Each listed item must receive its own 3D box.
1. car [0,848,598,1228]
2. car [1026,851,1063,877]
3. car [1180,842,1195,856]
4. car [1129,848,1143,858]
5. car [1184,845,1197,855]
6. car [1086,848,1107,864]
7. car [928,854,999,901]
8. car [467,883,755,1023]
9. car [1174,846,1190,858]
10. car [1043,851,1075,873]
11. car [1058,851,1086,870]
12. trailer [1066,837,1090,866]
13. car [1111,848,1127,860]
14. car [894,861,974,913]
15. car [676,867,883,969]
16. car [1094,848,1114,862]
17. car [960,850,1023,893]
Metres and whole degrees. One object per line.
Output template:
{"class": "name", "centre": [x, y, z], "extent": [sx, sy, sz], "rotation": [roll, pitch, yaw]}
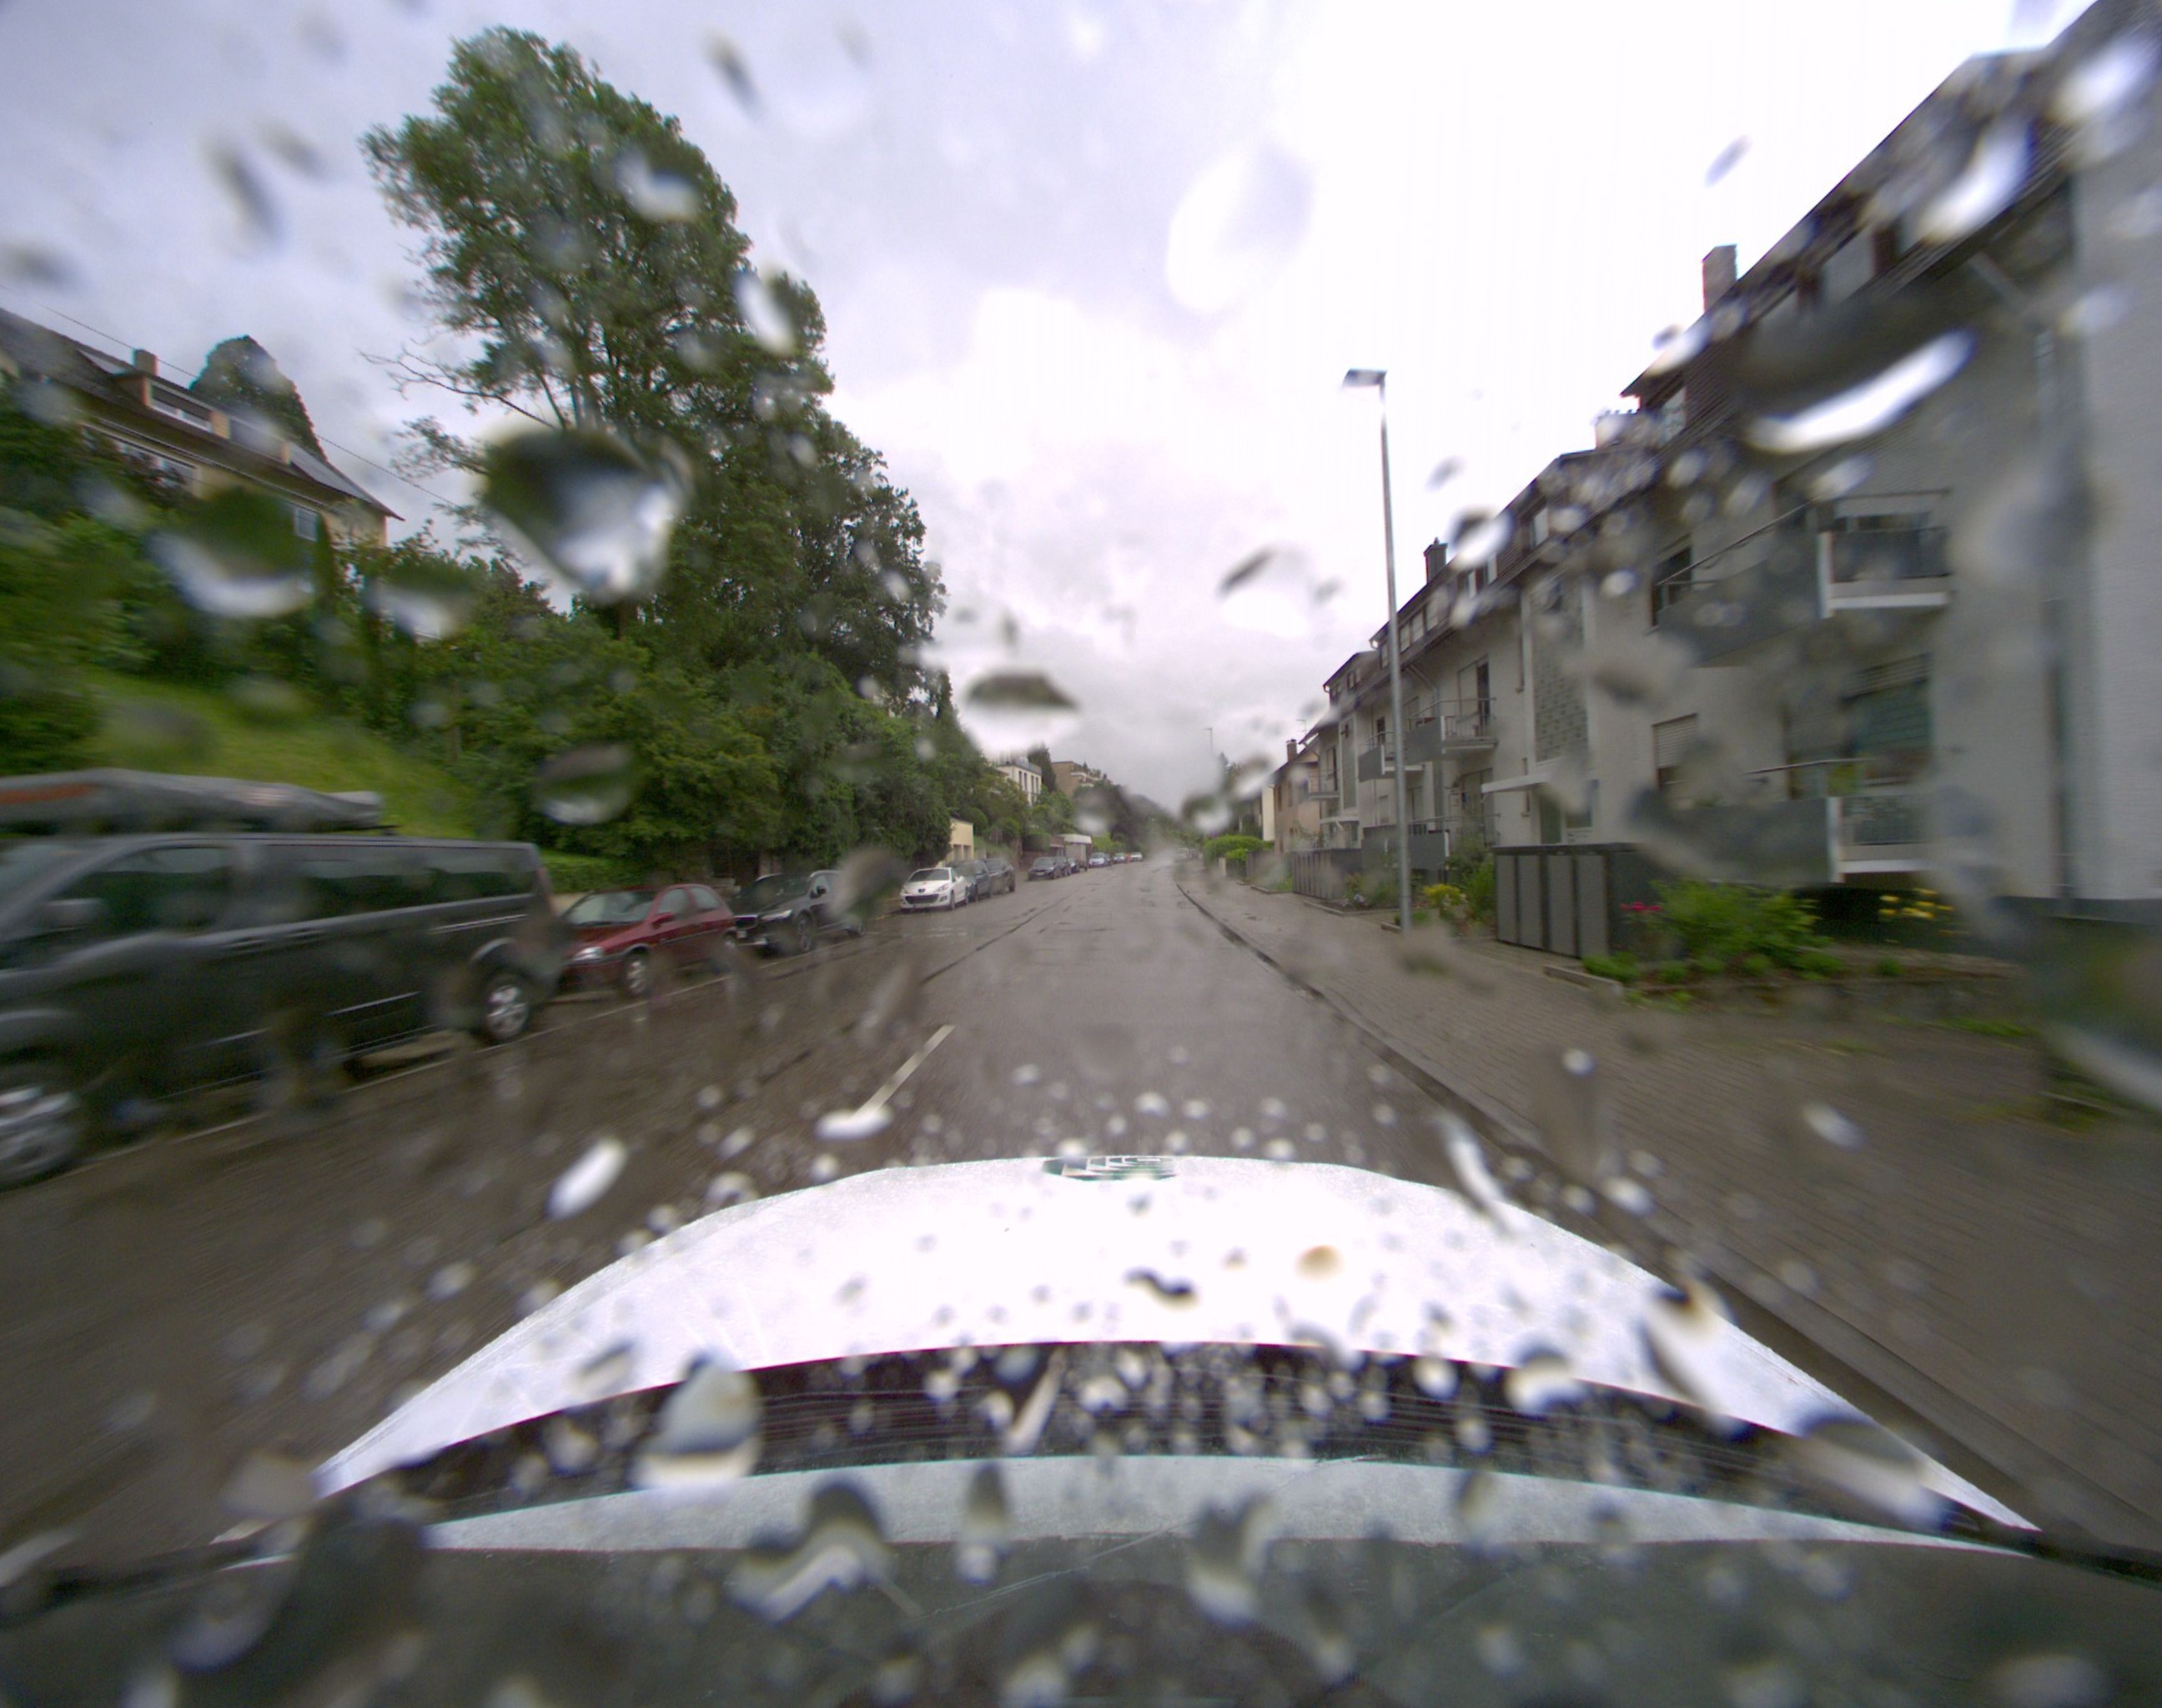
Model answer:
{"class": "car", "centre": [-6.457, 0.979, 6.103], "extent": [2.149, 1.919, 5.329], "rotation": [-3, 0, 4]}
{"class": "car", "centre": [-2.435, 0.641, 55.447], "extent": [1.777, 1.454, 4.762], "rotation": [-5, 1, 5]}
{"class": "car", "centre": [14.994, -0.712, 114.911], "extent": [1.773, 1.790, 4.375], "rotation": [-2, 0, 11]}
{"class": "car", "centre": [8.809, -0.172, 129.430], "extent": [1.746, 1.497, 4.230], "rotation": [-3, 0, 9]}
{"class": "car", "centre": [16.344, -0.566, 121.545], "extent": [1.698, 1.403, 4.217], "rotation": [-2, 0, 11]}
{"class": "car", "centre": [1.704, 0.197, 87.930], "extent": [1.746, 1.539, 3.765], "rotation": [-5, 1, 7]}
{"class": "car", "centre": [-4.592, 0.891, 32.533], "extent": [1.733, 1.561, 4.116], "rotation": [-4, 0, 6]}
{"class": "car", "centre": [-6.230, 1.218, 11.389], "extent": [1.558, 1.364, 3.910], "rotation": [-4, 0, 2]}
{"class": "car", "centre": [13.589, -0.309, 109.655], "extent": [1.778, 1.459, 4.322], "rotation": [-2, 0, 11]}
{"class": "car", "centre": [-1.627, 0.601, 61.358], "extent": [1.776, 1.415, 4.225], "rotation": [-4, 1, 6]}
{"class": "car", "centre": [-0.736, 0.506, 68.181], "extent": [1.799, 1.349, 3.783], "rotation": [-4, 1, 6]}
{"class": "trailer", "centre": [-0.261, -0.256, 73.549], "extent": [1.527, 2.399, 3.081], "rotation": [-4, 0, 10]}
{"class": "car", "centre": [5.175, 0.002, 110.541], "extent": [1.746, 1.402, 3.778], "rotation": [-5, 0, 8]}
{"class": "car", "centre": [-4.890, 1.057, 27.635], "extent": [1.709, 1.365, 4.086], "rotation": [-5, 1, 2]}
{"class": "car", "centre": [-5.705, 1.130, 16.206], "extent": [1.899, 1.480, 4.762], "rotation": [-5, 0, 5]}
{"class": "car", "centre": [2.656, 0.070, 93.371], "extent": [1.746, 1.409, 3.713], "rotation": [-5, 1, 7]}
{"class": "car", "centre": [-4.023, 0.753, 37.407], "extent": [1.865, 1.625, 4.600], "rotation": [-5, 1, 5]}
